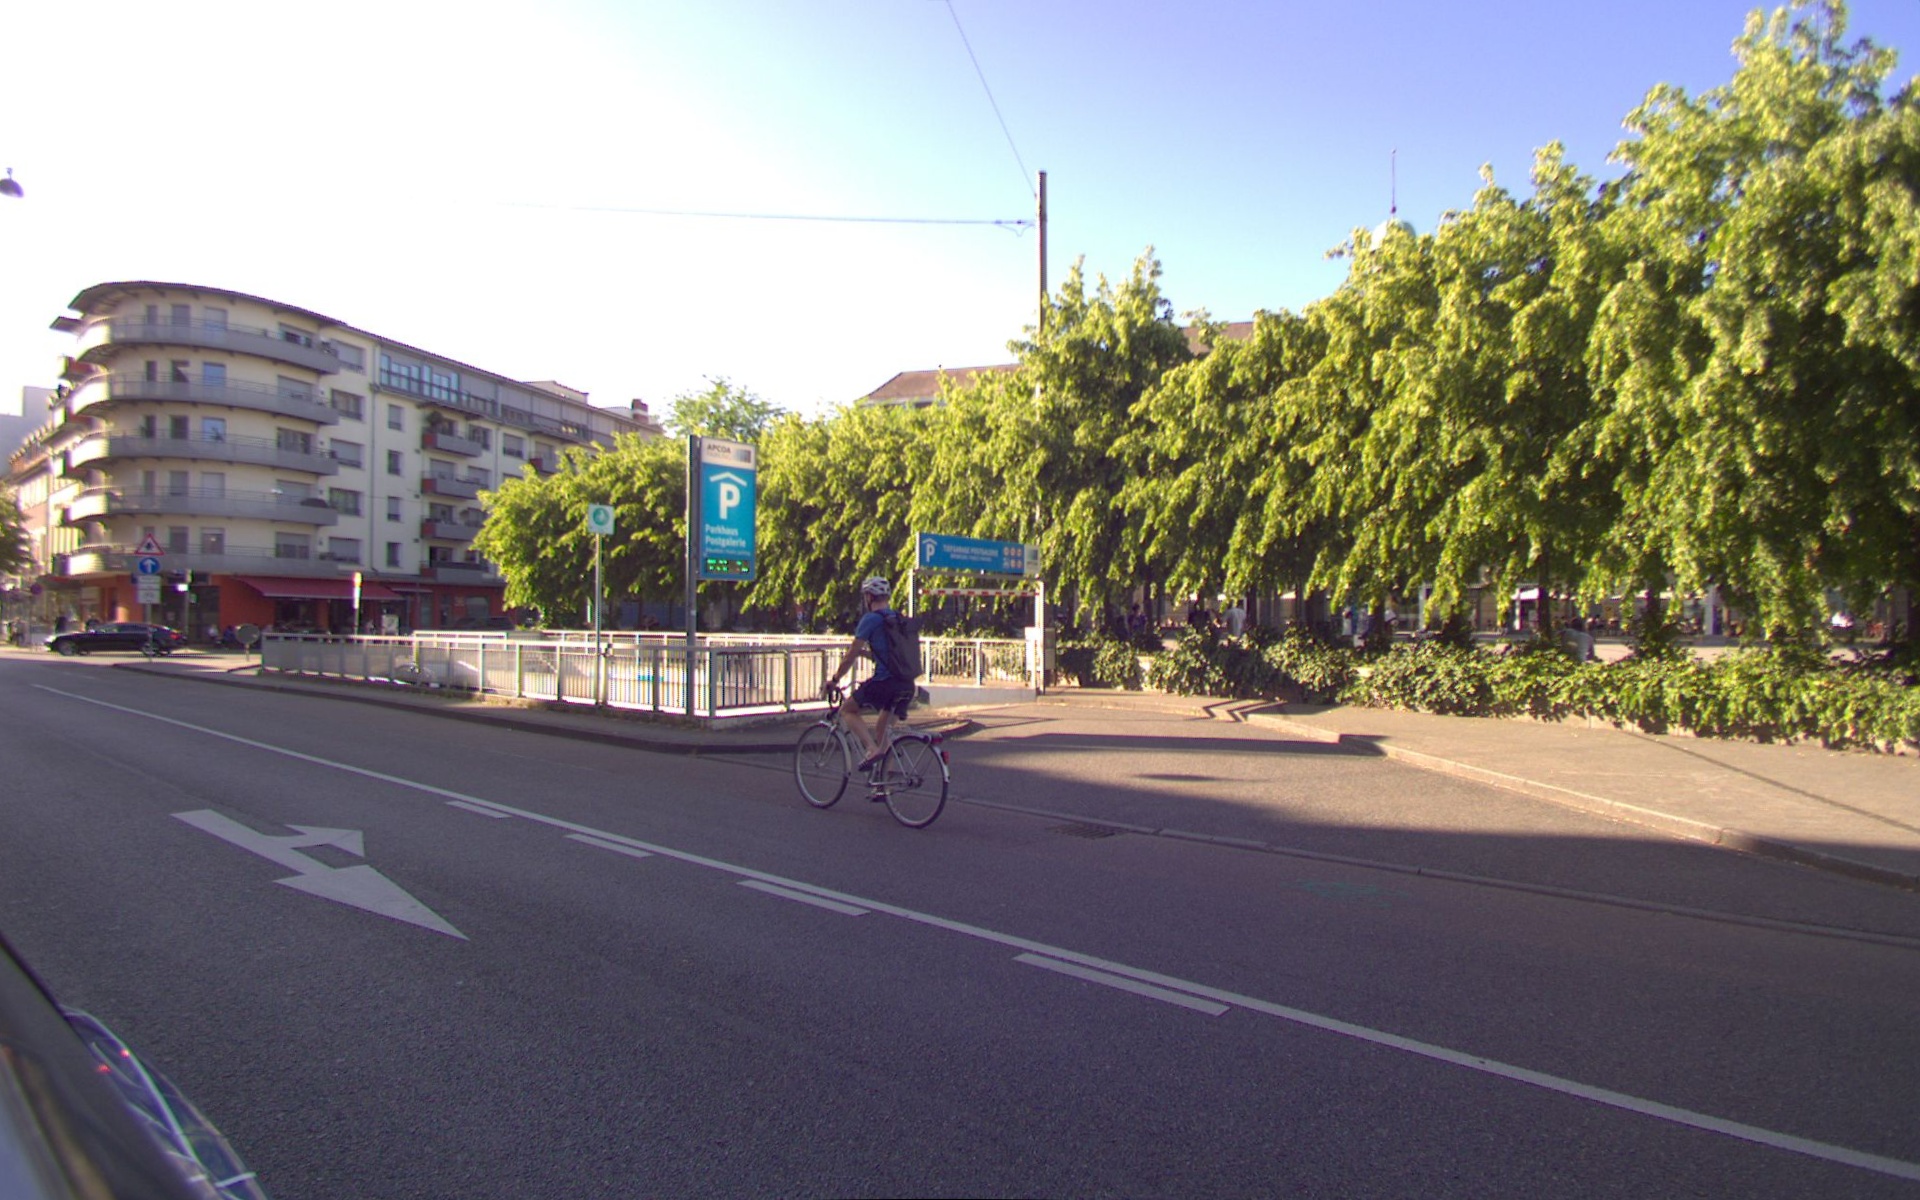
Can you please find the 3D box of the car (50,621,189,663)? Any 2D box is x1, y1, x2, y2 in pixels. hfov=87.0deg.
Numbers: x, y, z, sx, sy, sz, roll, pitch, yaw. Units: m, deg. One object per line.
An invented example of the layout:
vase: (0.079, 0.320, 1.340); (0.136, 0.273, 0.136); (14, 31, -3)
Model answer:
car: (-34.794, 1.702, 42.039); (4.176, 1.542, 1.682); (-1, 0, -26)

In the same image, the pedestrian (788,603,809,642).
pedestrian: (-7.921, 1.097, 49.661); (0.681, 1.857, 0.741); (-1, 0, 27)

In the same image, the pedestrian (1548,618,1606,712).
pedestrian: (9.802, 1.014, 16.094); (0.611, 1.447, 0.588); (-1, 0, 14)

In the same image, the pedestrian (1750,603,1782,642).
pedestrian: (32.414, 0.907, 40.685); (0.732, 1.542, 0.692); (-1, 0, 9)

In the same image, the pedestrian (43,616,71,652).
pedestrian: (-49.193, 1.851, 55.134); (0.790, 1.934, 0.978); (-1, 0, 37)

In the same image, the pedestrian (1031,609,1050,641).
pedestrian: (3.572, 1.119, 44.858); (0.752, 1.385, 0.684); (-1, 0, 1)

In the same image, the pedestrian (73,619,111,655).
pedestrian: (-42.595, 1.809, 49.647); (0.952, 1.762, 1.058); (-1, 0, 10)

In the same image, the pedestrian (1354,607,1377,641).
pedestrian: (18.714, 1.079, 46.685); (0.672, 1.542, 0.696); (-1, 0, -18)

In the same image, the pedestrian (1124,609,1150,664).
pedestrian: (4.537, 0.932, 25.900); (0.545, 1.385, 0.680); (-1, 0, 19)

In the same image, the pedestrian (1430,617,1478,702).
pedestrian: (8.746, 1.027, 17.903); (0.621, 1.447, 0.645); (-1, 0, 39)

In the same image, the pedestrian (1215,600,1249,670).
pedestrian: (6.310, 0.805, 23.450); (0.525, 1.594, 0.675); (-1, 0, 38)

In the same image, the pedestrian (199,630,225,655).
pedestrian: (-37.645, 2.138, 50.944); (0.882, 1.207, 0.772); (-1, 0, 30)

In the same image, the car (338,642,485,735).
car: (-12.824, 1.974, 23.577); (3.904, 1.541, 1.617); (5, 4, 39)

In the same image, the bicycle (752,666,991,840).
bicycle: (-0.744, 1.157, 8.125); (1.953, 1.171, 0.611); (0, -3, 35)

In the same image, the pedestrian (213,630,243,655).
pedestrian: (-36.824, 2.127, 50.899); (0.827, 1.207, 0.931); (-1, 0, 16)

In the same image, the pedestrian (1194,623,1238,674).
pedestrian: (5.654, 1.067, 22.399); (0.682, 1.079, 0.686); (-1, 0, -13)

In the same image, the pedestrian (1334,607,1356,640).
pedestrian: (17.988, 1.088, 47.289); (0.673, 1.535, 0.695); (-1, 0, -7)

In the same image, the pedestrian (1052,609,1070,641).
pedestrian: (4.467, 1.107, 44.821); (0.684, 1.385, 0.684); (-1, 0, 1)

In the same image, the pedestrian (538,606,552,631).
pedestrian: (-31.137, 1.397, 75.898); (0.684, 1.857, 0.737); (-1, 0, 41)

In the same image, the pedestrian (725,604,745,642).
pedestrian: (-11.212, 1.121, 50.360); (0.679, 1.857, 0.743); (-1, 0, 19)

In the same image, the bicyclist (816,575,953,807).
bicyclist: (-0.595, 0.689, 8.058); (0.808, 1.722, 0.695); (-1, -3, 35)

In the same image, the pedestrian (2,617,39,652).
pedestrian: (-47.036, 1.726, 50.667); (1.076, 1.732, 1.059); (-1, 0, 30)

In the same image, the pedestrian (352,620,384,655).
pedestrian: (-29.927, 1.887, 51.168); (1.250, 1.678, 1.143); (-1, 0, -24)

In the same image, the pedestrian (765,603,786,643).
pedestrian: (-8.946, 1.101, 49.001); (0.681, 1.877, 0.741); (-1, 0, 27)

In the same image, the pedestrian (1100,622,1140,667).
pedestrian: (3.959, 1.093, 25.008); (0.682, 1.079, 0.686); (-1, 0, -29)

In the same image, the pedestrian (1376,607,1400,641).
pedestrian: (19.430, 1.069, 45.955); (0.672, 1.536, 0.696); (-1, 0, -19)

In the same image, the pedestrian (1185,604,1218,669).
pedestrian: (5.760, 0.854, 24.081); (0.688, 1.511, 0.680); (-1, 0, 19)

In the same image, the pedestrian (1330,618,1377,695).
pedestrian: (7.519, 1.062, 19.349); (0.622, 1.409, 0.644); (-1, 0, 44)
